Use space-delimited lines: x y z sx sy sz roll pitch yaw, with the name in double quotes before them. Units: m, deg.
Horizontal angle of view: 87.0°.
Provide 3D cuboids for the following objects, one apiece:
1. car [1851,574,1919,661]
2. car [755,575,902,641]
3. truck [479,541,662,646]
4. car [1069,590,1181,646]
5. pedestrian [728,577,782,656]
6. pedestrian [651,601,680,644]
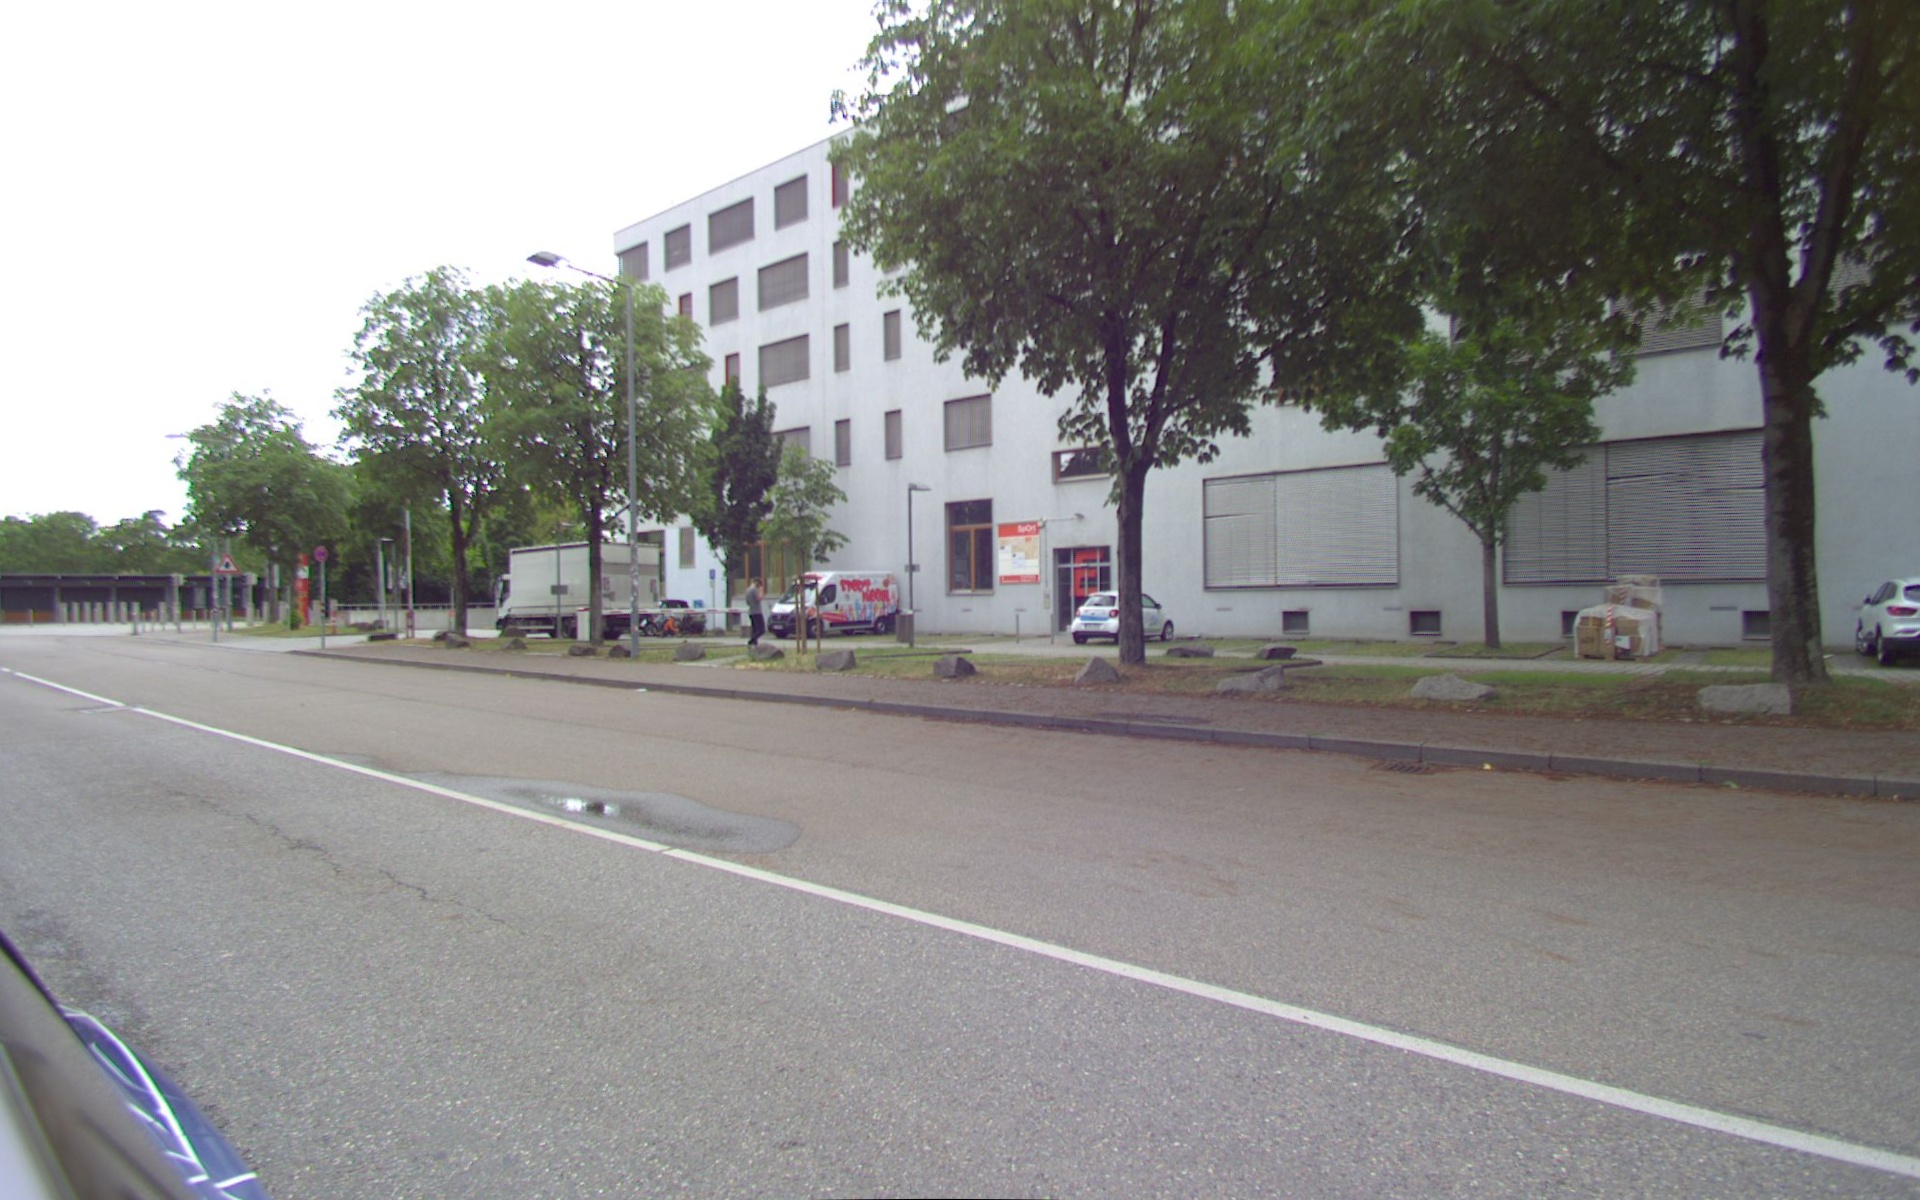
"car" 17.934 0.260 18.649 1.896 1.467 3.963 0 1 36
"car" -4.852 0.223 38.081 2.078 2.296 5.569 0 1 40
"truck" -15.073 -0.275 38.783 8.354 3.627 2.651 0 1 38
"car" 4.916 0.485 29.903 1.691 1.511 3.575 0 1 40
"pedestrian" -4.502 0.351 22.218 0.785 1.684 0.836 0 1 35
"pedestrian" -11.429 0.865 39.313 0.885 1.618 0.672 0 1 34
